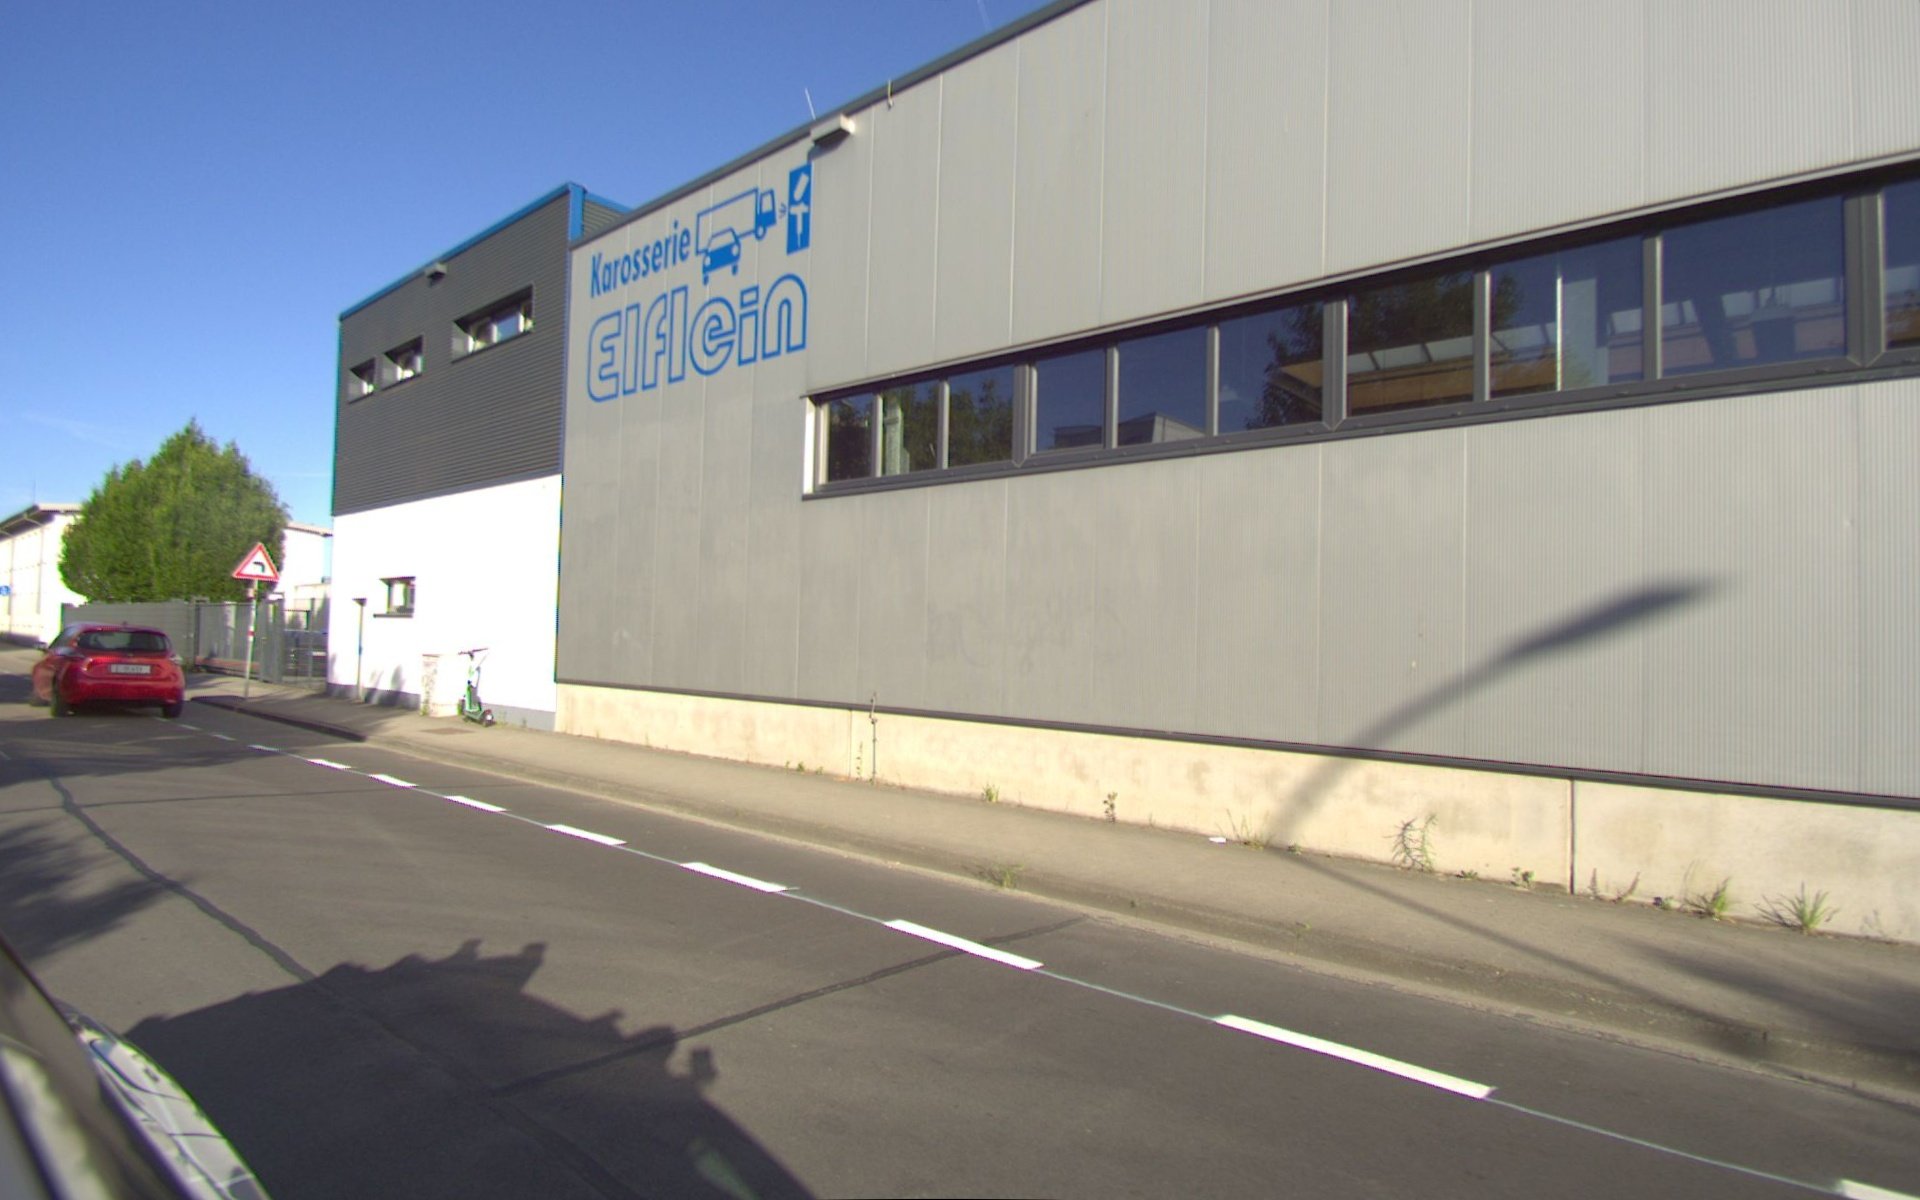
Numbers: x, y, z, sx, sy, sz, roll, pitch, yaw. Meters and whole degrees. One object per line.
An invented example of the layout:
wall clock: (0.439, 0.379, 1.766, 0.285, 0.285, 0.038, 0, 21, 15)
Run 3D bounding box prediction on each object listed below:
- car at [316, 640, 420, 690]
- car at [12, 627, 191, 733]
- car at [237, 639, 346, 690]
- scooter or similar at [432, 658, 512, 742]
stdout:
car: (-21.036, 2.302, 35.899, 3.996, 1.618, 1.850, -1, -5, 40)
car: (-14.998, 1.348, 17.611, 4.074, 1.551, 1.702, 0, -6, 42)
car: (-22.195, 2.115, 33.563, 3.996, 1.552, 1.850, -1, -5, 40)
scooter or similar: (-7.752, 1.555, 16.048, 1.753, 1.212, 0.501, -1, -1, 42)
